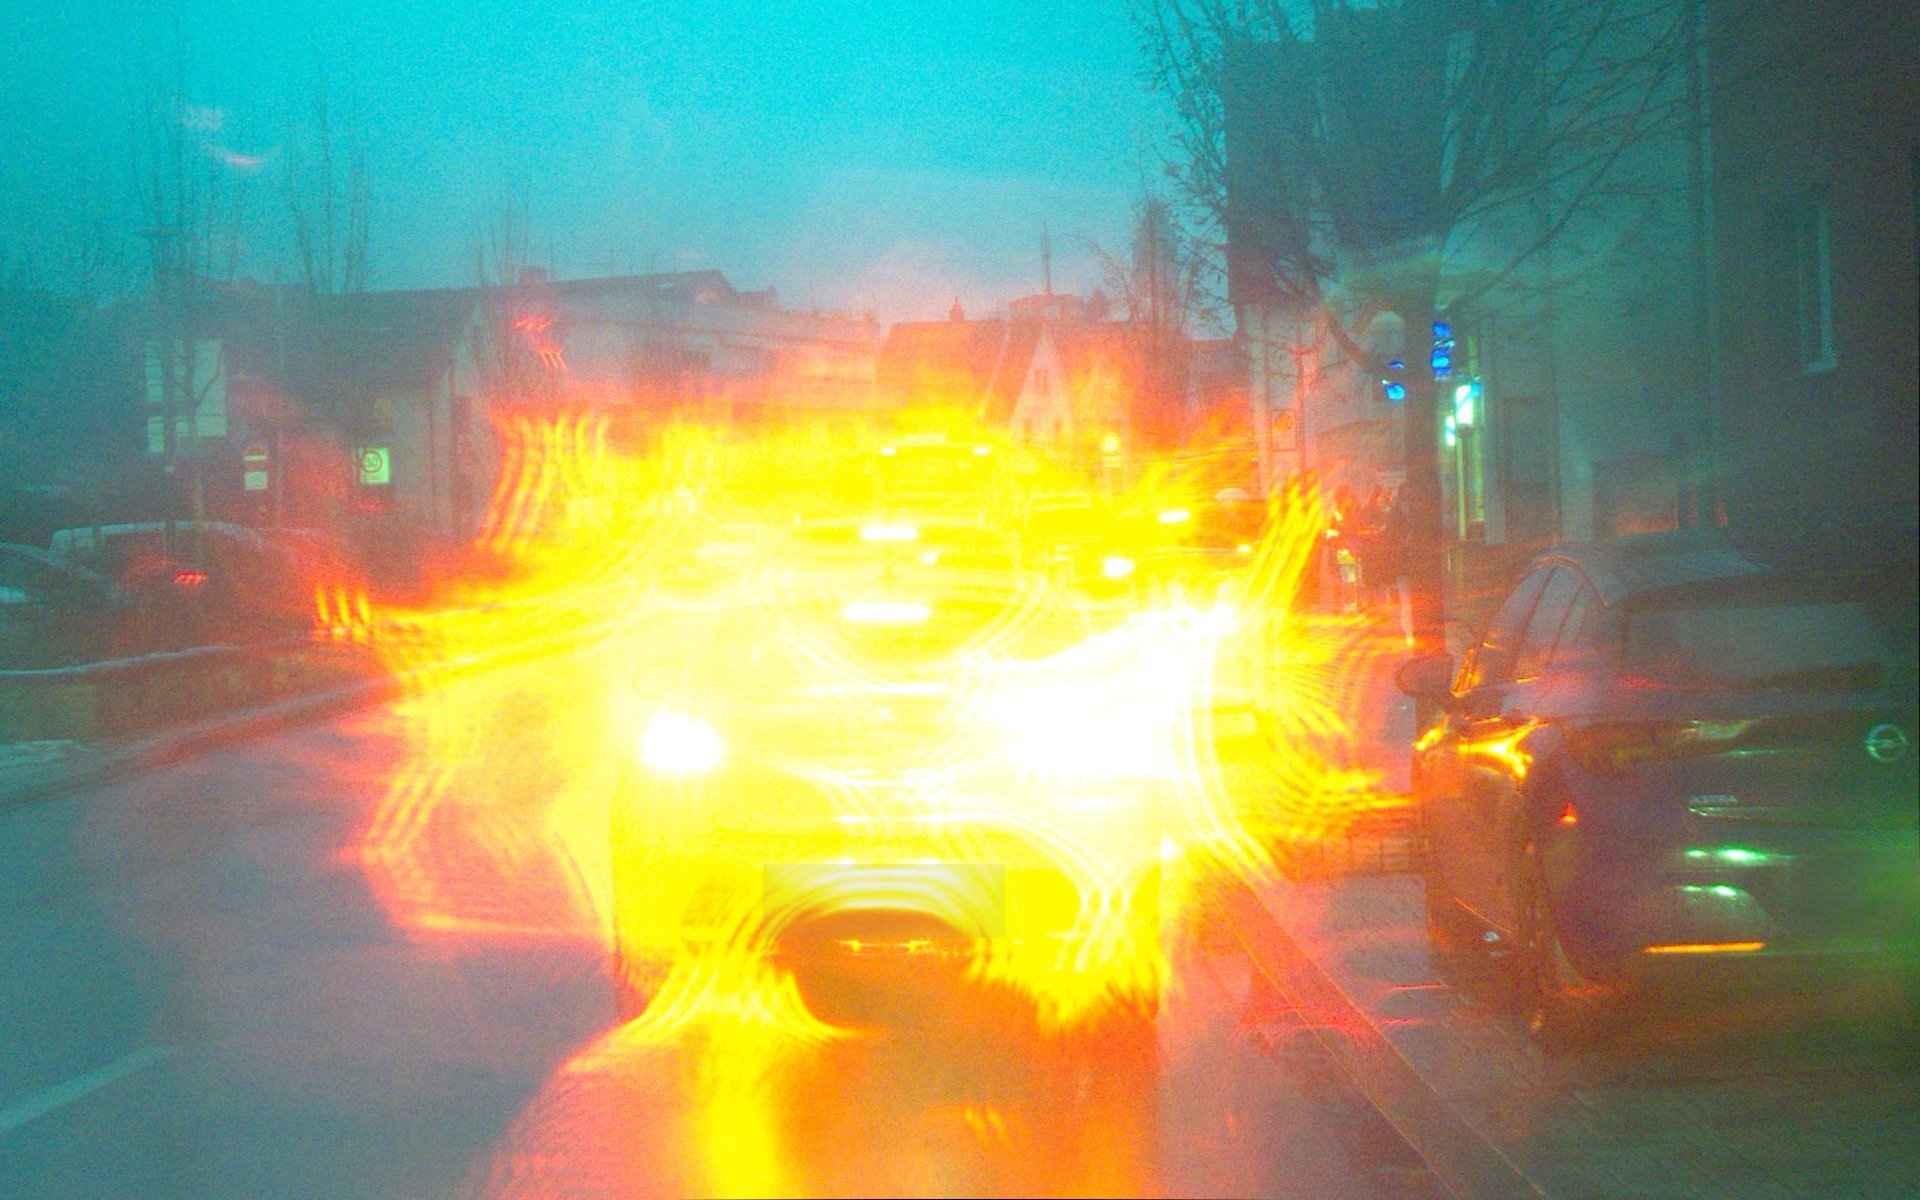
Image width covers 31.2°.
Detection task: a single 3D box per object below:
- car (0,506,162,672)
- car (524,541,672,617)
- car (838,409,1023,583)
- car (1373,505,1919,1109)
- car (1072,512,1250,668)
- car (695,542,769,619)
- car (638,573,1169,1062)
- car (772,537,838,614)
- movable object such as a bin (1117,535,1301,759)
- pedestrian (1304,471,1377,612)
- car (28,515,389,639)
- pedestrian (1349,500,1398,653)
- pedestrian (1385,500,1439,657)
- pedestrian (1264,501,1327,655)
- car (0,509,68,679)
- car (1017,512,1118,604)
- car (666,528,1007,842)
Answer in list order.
[{"bbox_3d":[-10.163,-0.104,34.107,4.094,1.603,1.587,0,0,3],"label":"car"},{"bbox_3d":[-10.722,-0.598,101.677,4.383,2.159,1.995,-1,-2,44],"label":"car"},{"bbox_3d":[-0.645,-1.925,66.430,3.190,3.021,6.305,0,-1,-4],"label":"car"},{"bbox_3d":[2.411,0.480,10.969,1.728,1.459,4.199,-4,1,2],"label":"car"},{"bbox_3d":[2.298,-0.145,40.268,1.735,1.686,4.386,-1,1,-1],"label":"car"},{"bbox_3d":[-6.284,-0.509,95.043,1.919,2.021,3.975,0,-1,-2],"label":"car"},{"bbox_3d":[-0.170,0.633,11.683,1.563,1.408,3.018,0,1,0],"label":"car"},{"bbox_3d":[-4.631,-0.710,103.004,1.919,2.208,3.975,0,-1,-2],"label":"car"},{"bbox_3d":[1.715,0.304,23.905,1.129,1.415,1.417,-4,2,2],"label":"movable object such as a bin"},{"bbox_3d":[4.737,-0.737,42.770,0.712,1.709,1.034,-2,2,14],"label":"pedestrian"},{"bbox_3d":[-10.400,-0.322,47.842,4.625,1.662,2.000,0,0,-2],"label":"car"},{"bbox_3d":[4.912,-0.287,40.817,0.529,1.794,0.864,0,1,10],"label":"pedestrian"},{"bbox_3d":[4.829,-0.218,36.690,0.529,1.647,0.953,0,-1,10],"label":"pedestrian"},{"bbox_3d":[3.781,-0.247,38.757,0.573,1.694,0.653,-3,0,1],"label":"pedestrian"},{"bbox_3d":[-10.339,-0.053,31.566,3.794,1.518,1.714,0,0,7],"label":"car"},{"bbox_3d":[2.218,-0.878,72.098,1.997,1.858,4.083,0,0,0],"label":"car"},{"bbox_3d":[-0.653,0.406,19.722,1.766,1.623,3.586,0,1,0],"label":"car"}]
